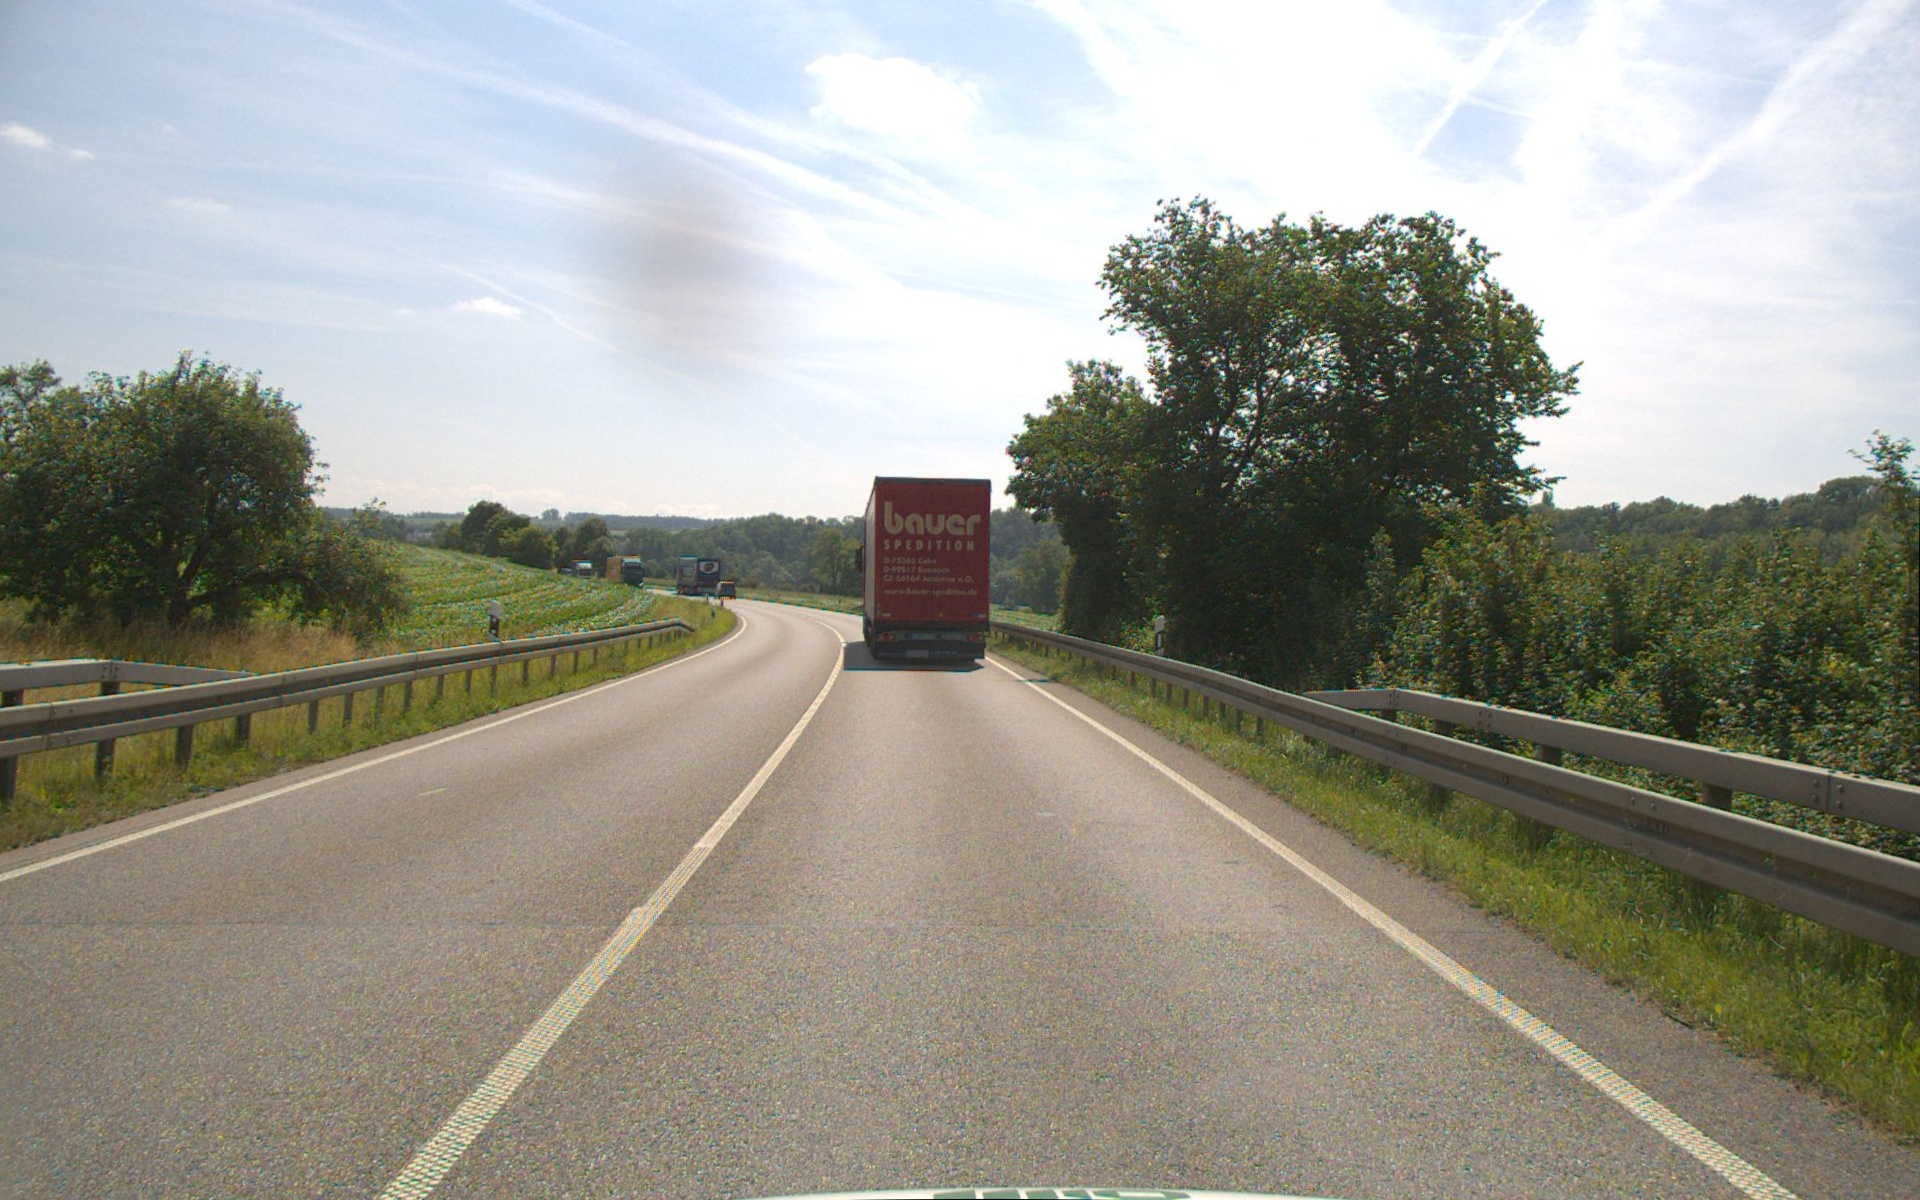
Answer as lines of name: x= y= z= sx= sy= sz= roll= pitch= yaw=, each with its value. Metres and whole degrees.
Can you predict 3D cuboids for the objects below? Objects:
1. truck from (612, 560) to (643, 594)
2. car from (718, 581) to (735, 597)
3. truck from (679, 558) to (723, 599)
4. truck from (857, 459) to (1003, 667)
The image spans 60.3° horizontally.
truck: x=-42.716 y=-2.929 z=212.021 sx=2.725 sy=4.068 sz=16.960 roll=1 pitch=0 yaw=-15
car: x=-22.851 y=-1.100 z=162.002 sx=1.552 sy=1.527 sz=3.870 roll=1 pitch=0 yaw=-7
truck: x=-28.727 y=-2.277 z=183.179 sx=3.580 sy=4.367 sz=11.937 roll=1 pitch=0 yaw=-15
truck: x=-0.558 y=-0.785 z=39.025 sx=3.030 sy=4.337 sz=8.315 roll=1 pitch=0 yaw=1
